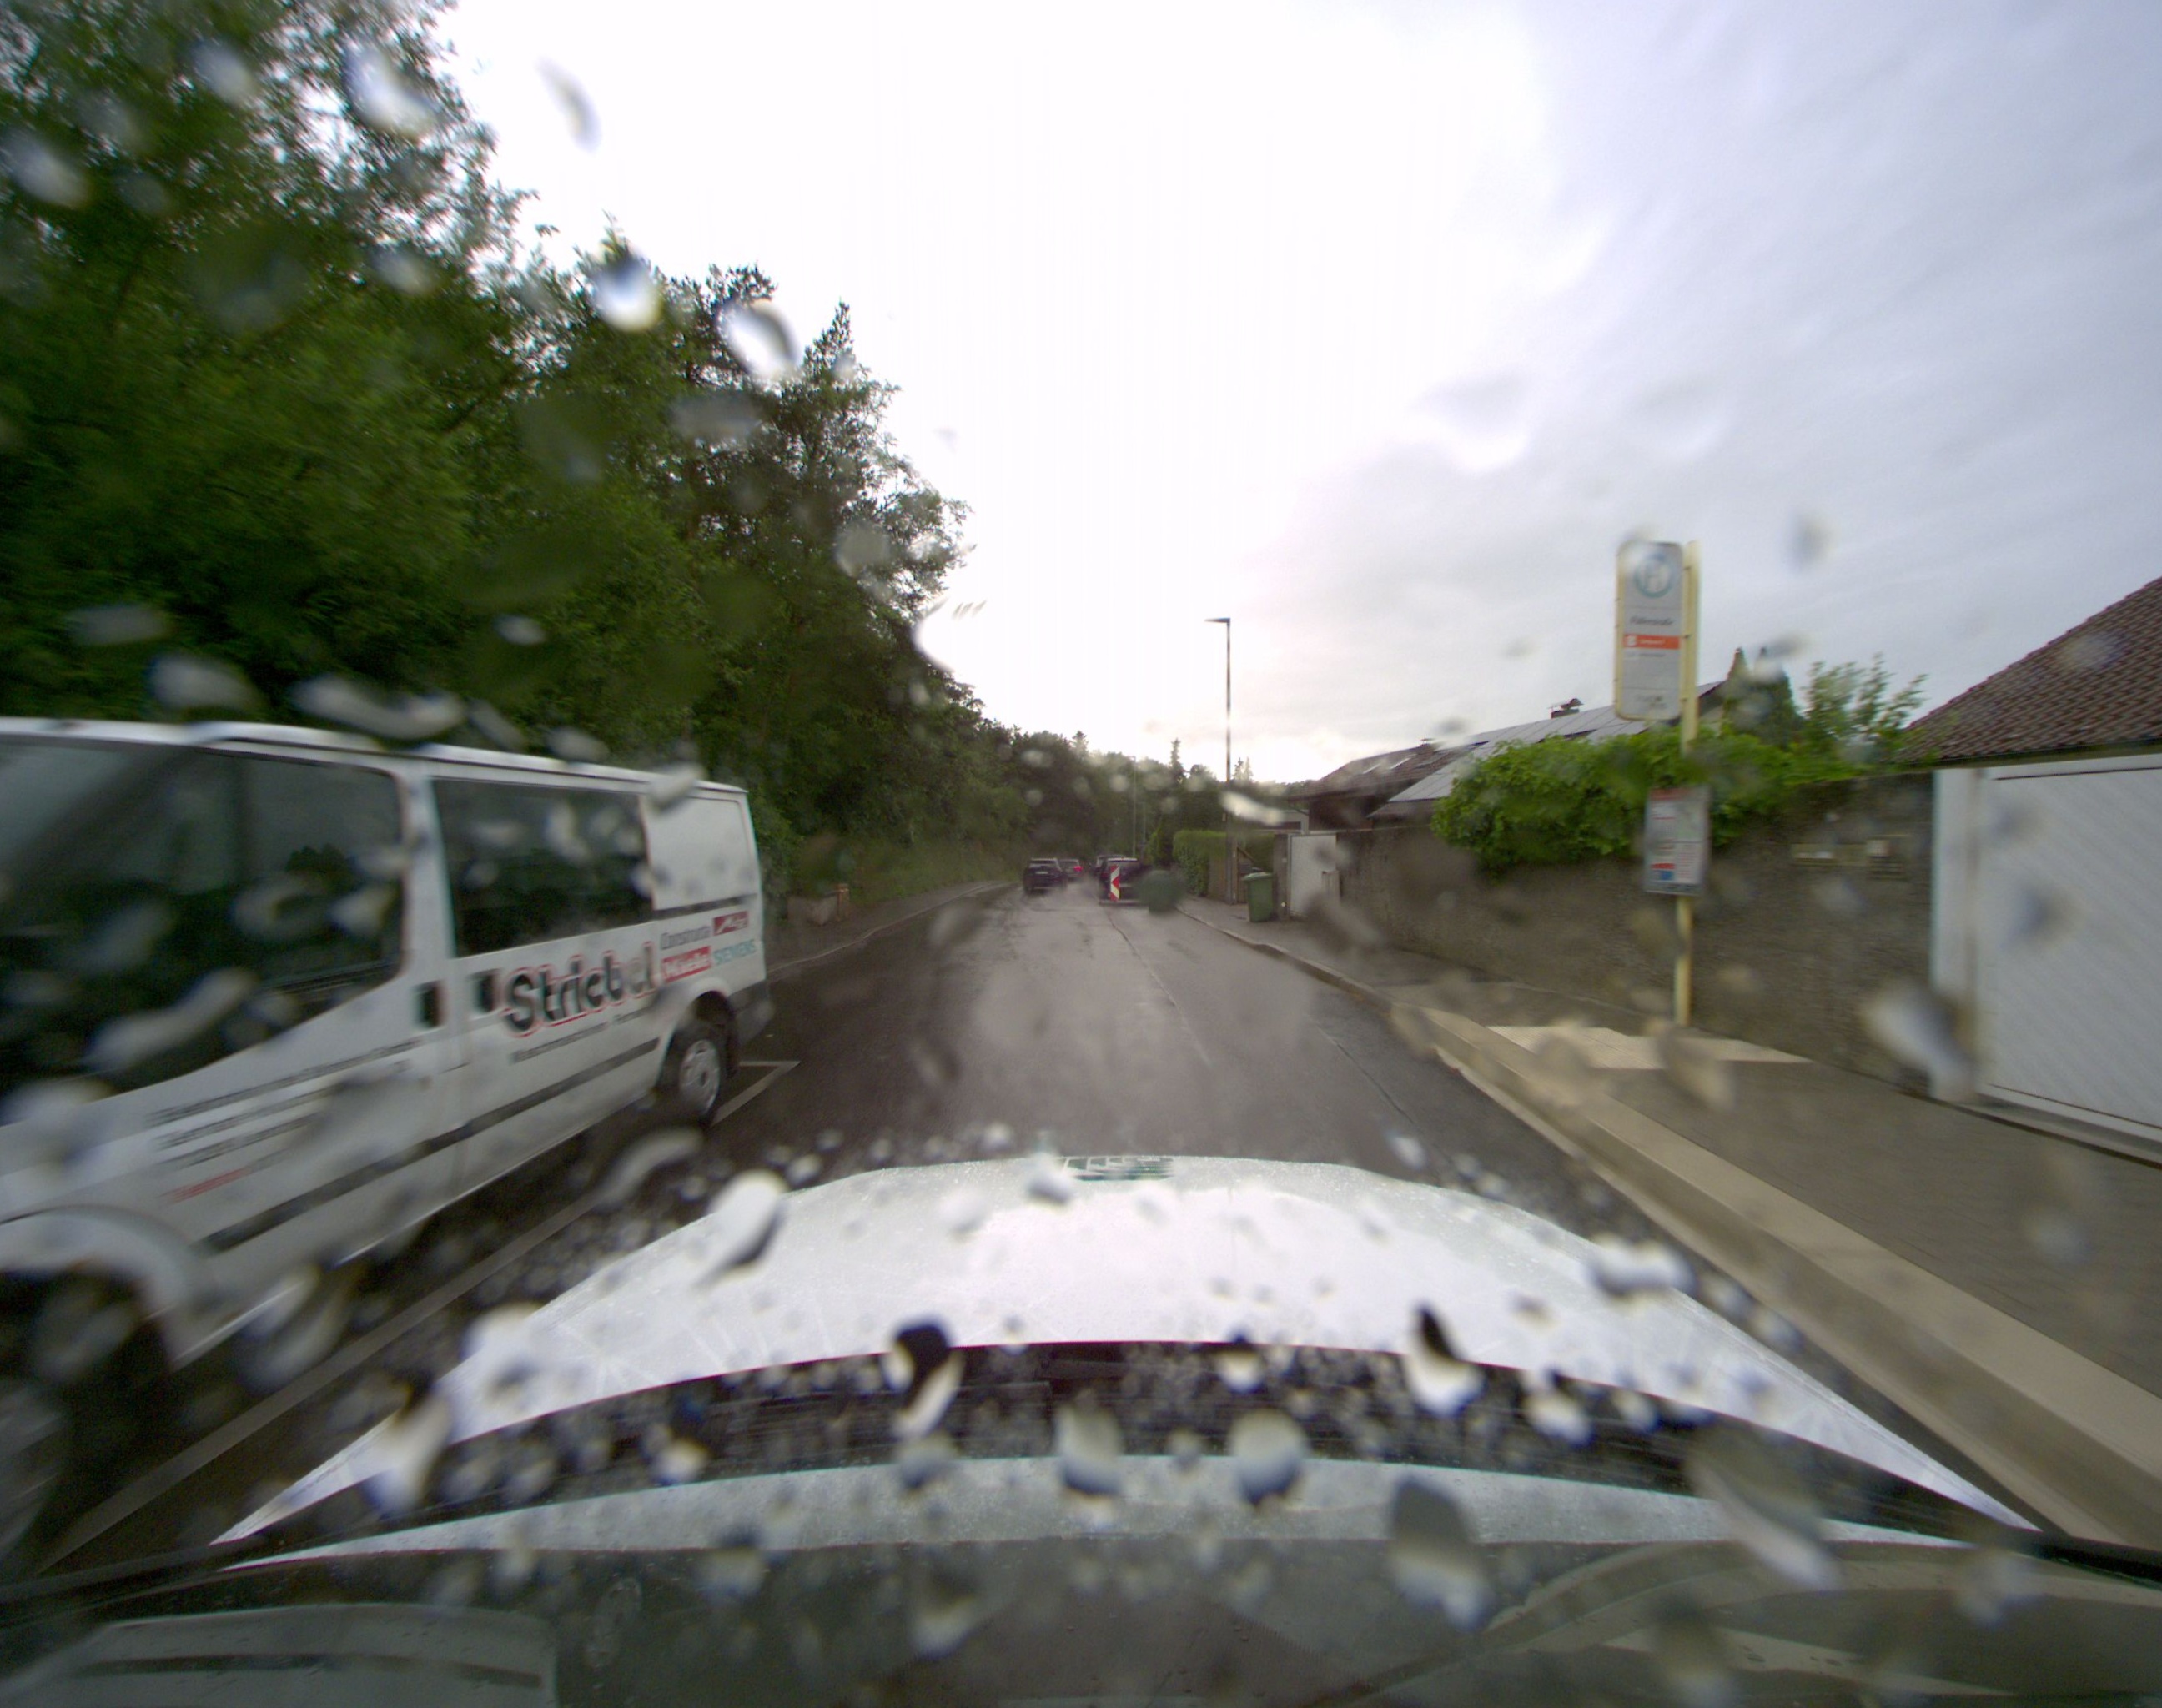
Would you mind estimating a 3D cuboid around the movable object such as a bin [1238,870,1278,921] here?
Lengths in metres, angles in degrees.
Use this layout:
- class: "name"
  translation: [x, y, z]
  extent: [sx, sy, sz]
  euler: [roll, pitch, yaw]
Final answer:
- class: "movable object such as a bin"
  translation: [3.947, 0.918, 18.186]
  extent: [0.736, 1.088, 0.600]
  euler: [-2, 0, 1]

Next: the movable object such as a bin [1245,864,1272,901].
- class: "movable object such as a bin"
  translation: [5.616, 0.907, 25.741]
  extent: [0.742, 1.104, 0.823]
  euler: [3, -1, 17]

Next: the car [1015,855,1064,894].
- class: "car"
  translation: [-1.780, 0.965, 36.183]
  extent: [1.862, 1.513, 4.092]
  euler: [2, -4, 1]

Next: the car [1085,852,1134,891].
- class: "car"
  translation: [1.177, 0.700, 35.658]
  extent: [1.870, 1.592, 4.476]
  euler: [0, 0, -2]

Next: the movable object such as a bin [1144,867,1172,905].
- class: "movable object such as a bin"
  translation: [2.254, 0.939, 23.905]
  extent: [0.727, 1.078, 0.660]
  euler: [1, 0, -4]

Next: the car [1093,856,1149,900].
- class: "car"
  translation: [1.409, 0.843, 30.342]
  extent: [1.751, 1.462, 4.298]
  euler: [1, 0, -2]

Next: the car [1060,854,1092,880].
- class: "car"
  translation: [-0.338, 0.827, 53.016]
  extent: [1.987, 1.605, 4.408]
  euler: [1, 0, 0]

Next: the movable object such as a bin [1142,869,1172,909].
- class: "movable object such as a bin"
  translation: [2.122, 0.977, 22.752]
  extent: [0.714, 1.095, 0.655]
  euler: [1, 0, -6]

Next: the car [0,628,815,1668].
- class: "car"
  translation: [-3.055, 0.556, 3.304]
  extent: [2.103, 1.974, 5.175]
  euler: [0, 0, 2]
